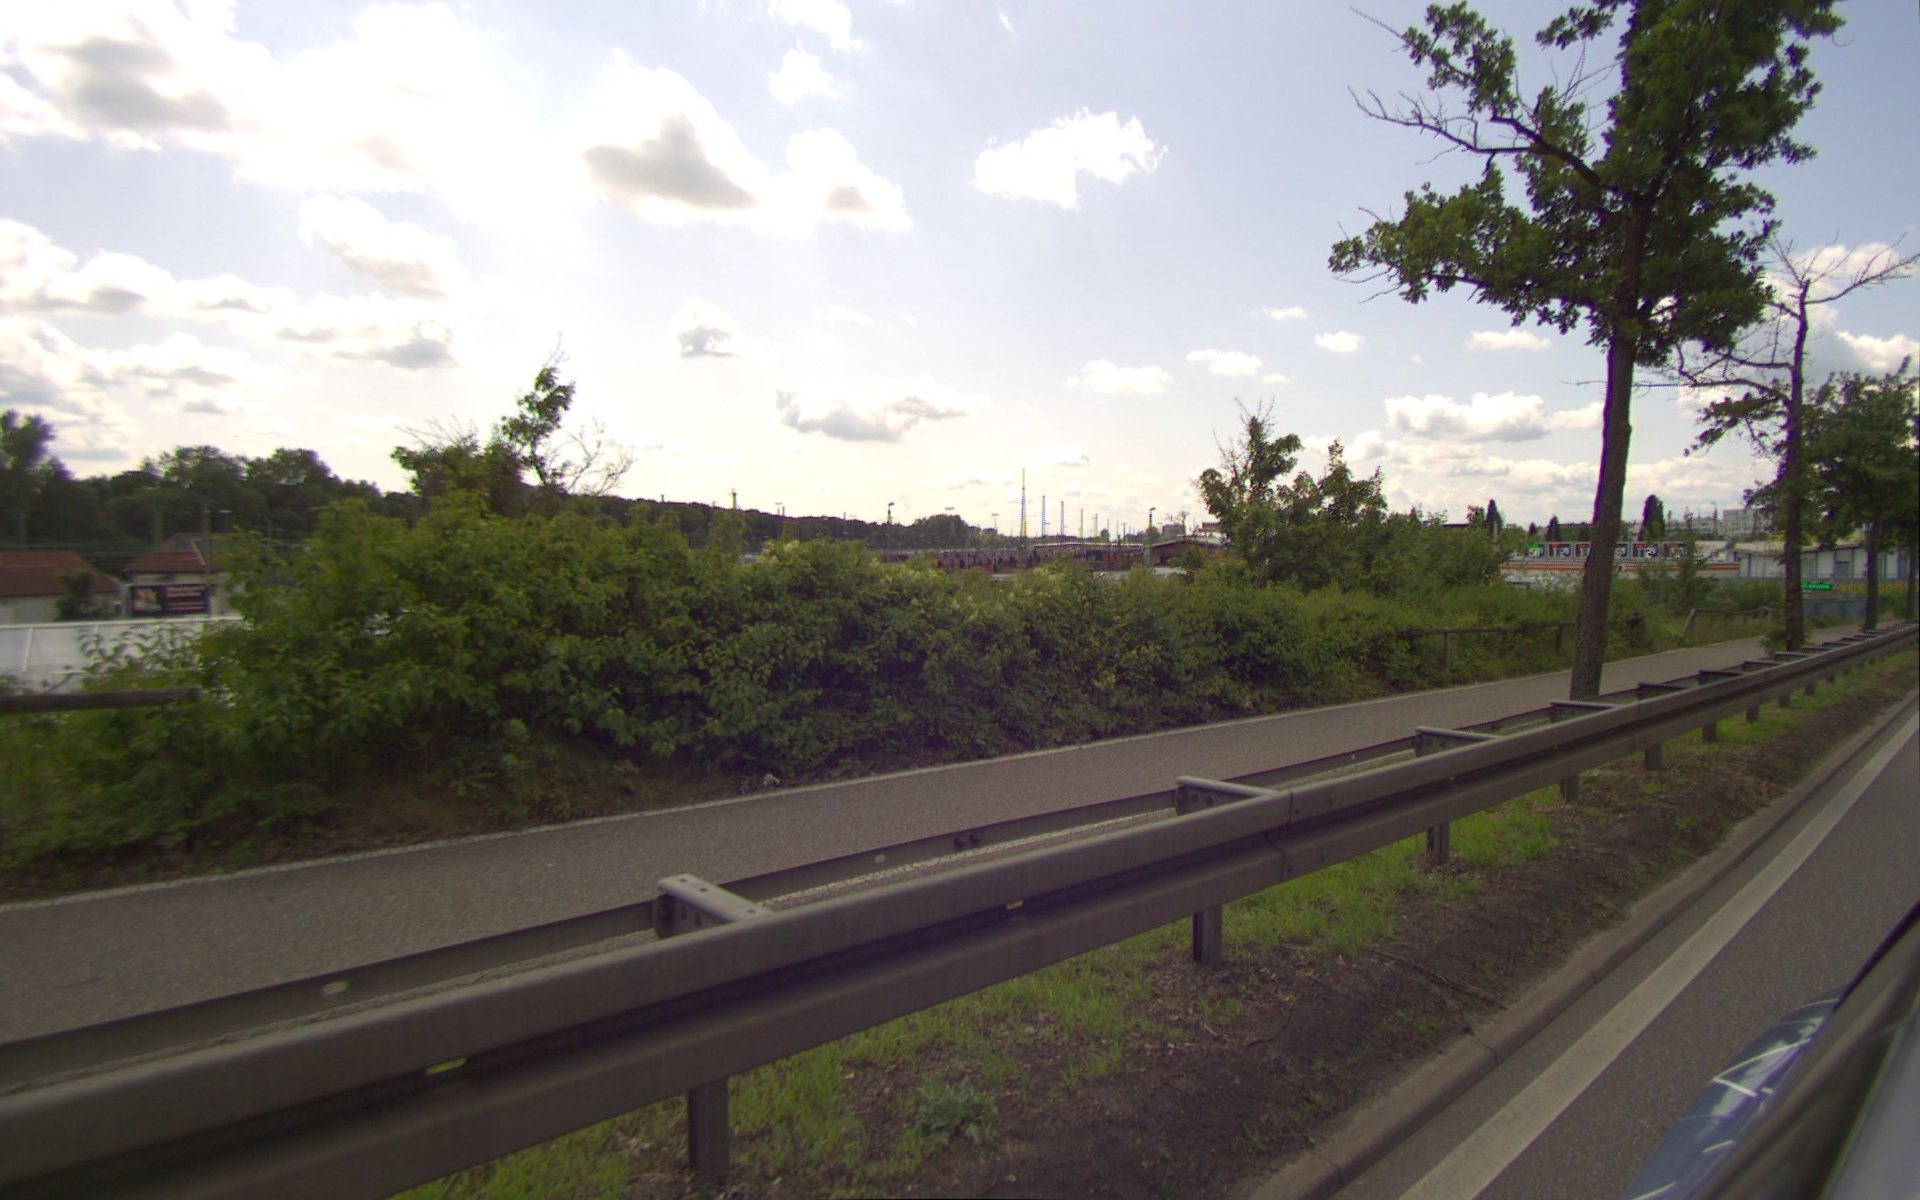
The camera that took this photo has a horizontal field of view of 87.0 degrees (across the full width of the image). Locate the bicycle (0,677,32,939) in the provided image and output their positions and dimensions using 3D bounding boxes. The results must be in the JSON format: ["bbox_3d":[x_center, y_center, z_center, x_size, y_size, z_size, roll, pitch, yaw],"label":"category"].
[{"bbox_3d":[-4.258,0.768,3.296,1.793,0.880,0.557,0,3,-41],"label":"bicycle"}]
